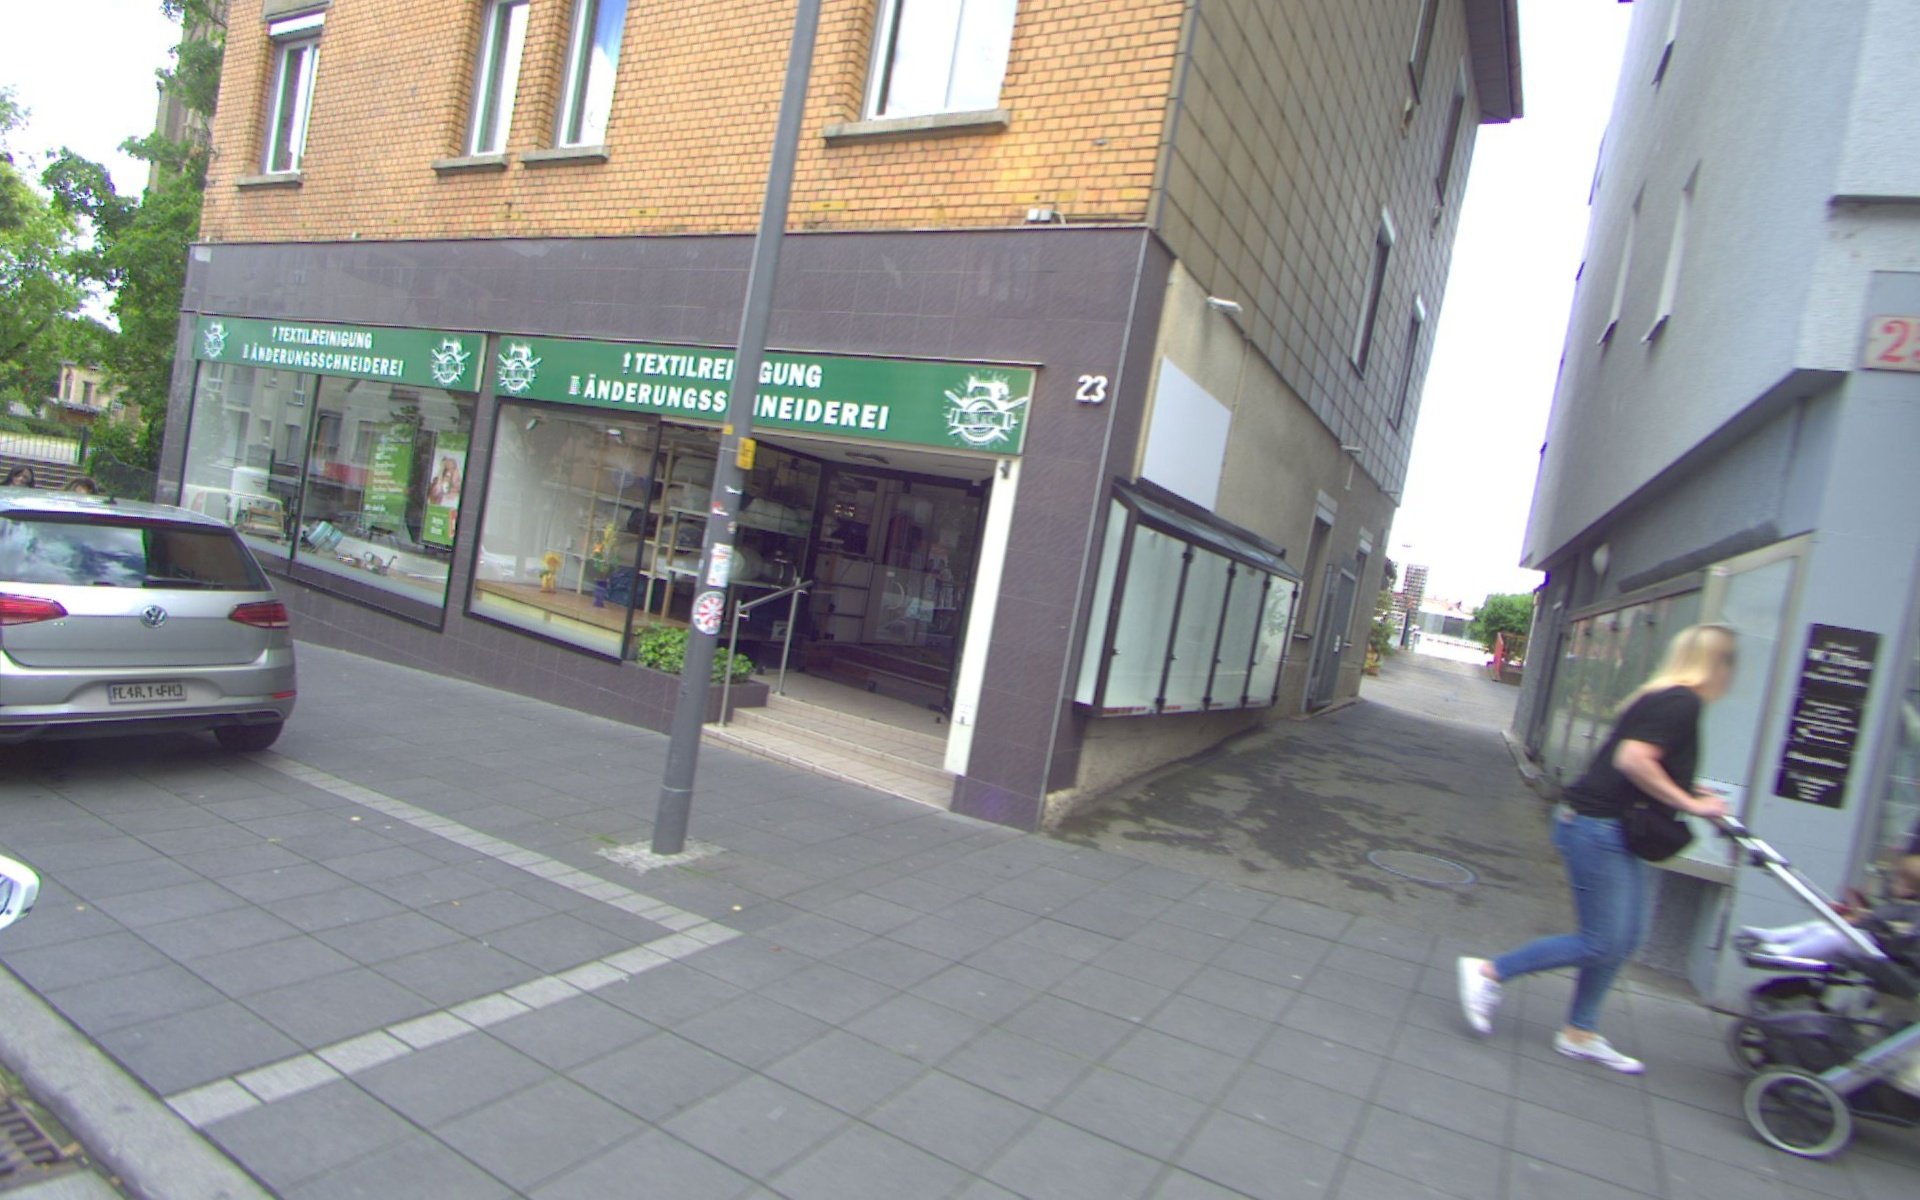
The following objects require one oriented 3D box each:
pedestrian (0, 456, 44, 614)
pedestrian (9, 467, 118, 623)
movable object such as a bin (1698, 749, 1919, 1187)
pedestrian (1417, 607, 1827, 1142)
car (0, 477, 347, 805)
[{"bbox_3d":[-10.374,-0.720,10.713,0.658,1.654,0.672,8,3,29],"label":"pedestrian"},{"bbox_3d":[-10.152,-0.611,11.399,0.658,1.654,0.672,8,3,29],"label":"pedestrian"},{"bbox_3d":[3.101,1.183,3.301,0.891,1.173,0.722,8,3,31],"label":"movable object such as a bin"},{"bbox_3d":[2.375,0.889,3.738,0.983,1.606,0.735,8,3,31],"label":"pedestrian"},{"bbox_3d":[-5.793,0.019,6.183,4.006,1.485,1.749,7,2,31],"label":"car"}]
